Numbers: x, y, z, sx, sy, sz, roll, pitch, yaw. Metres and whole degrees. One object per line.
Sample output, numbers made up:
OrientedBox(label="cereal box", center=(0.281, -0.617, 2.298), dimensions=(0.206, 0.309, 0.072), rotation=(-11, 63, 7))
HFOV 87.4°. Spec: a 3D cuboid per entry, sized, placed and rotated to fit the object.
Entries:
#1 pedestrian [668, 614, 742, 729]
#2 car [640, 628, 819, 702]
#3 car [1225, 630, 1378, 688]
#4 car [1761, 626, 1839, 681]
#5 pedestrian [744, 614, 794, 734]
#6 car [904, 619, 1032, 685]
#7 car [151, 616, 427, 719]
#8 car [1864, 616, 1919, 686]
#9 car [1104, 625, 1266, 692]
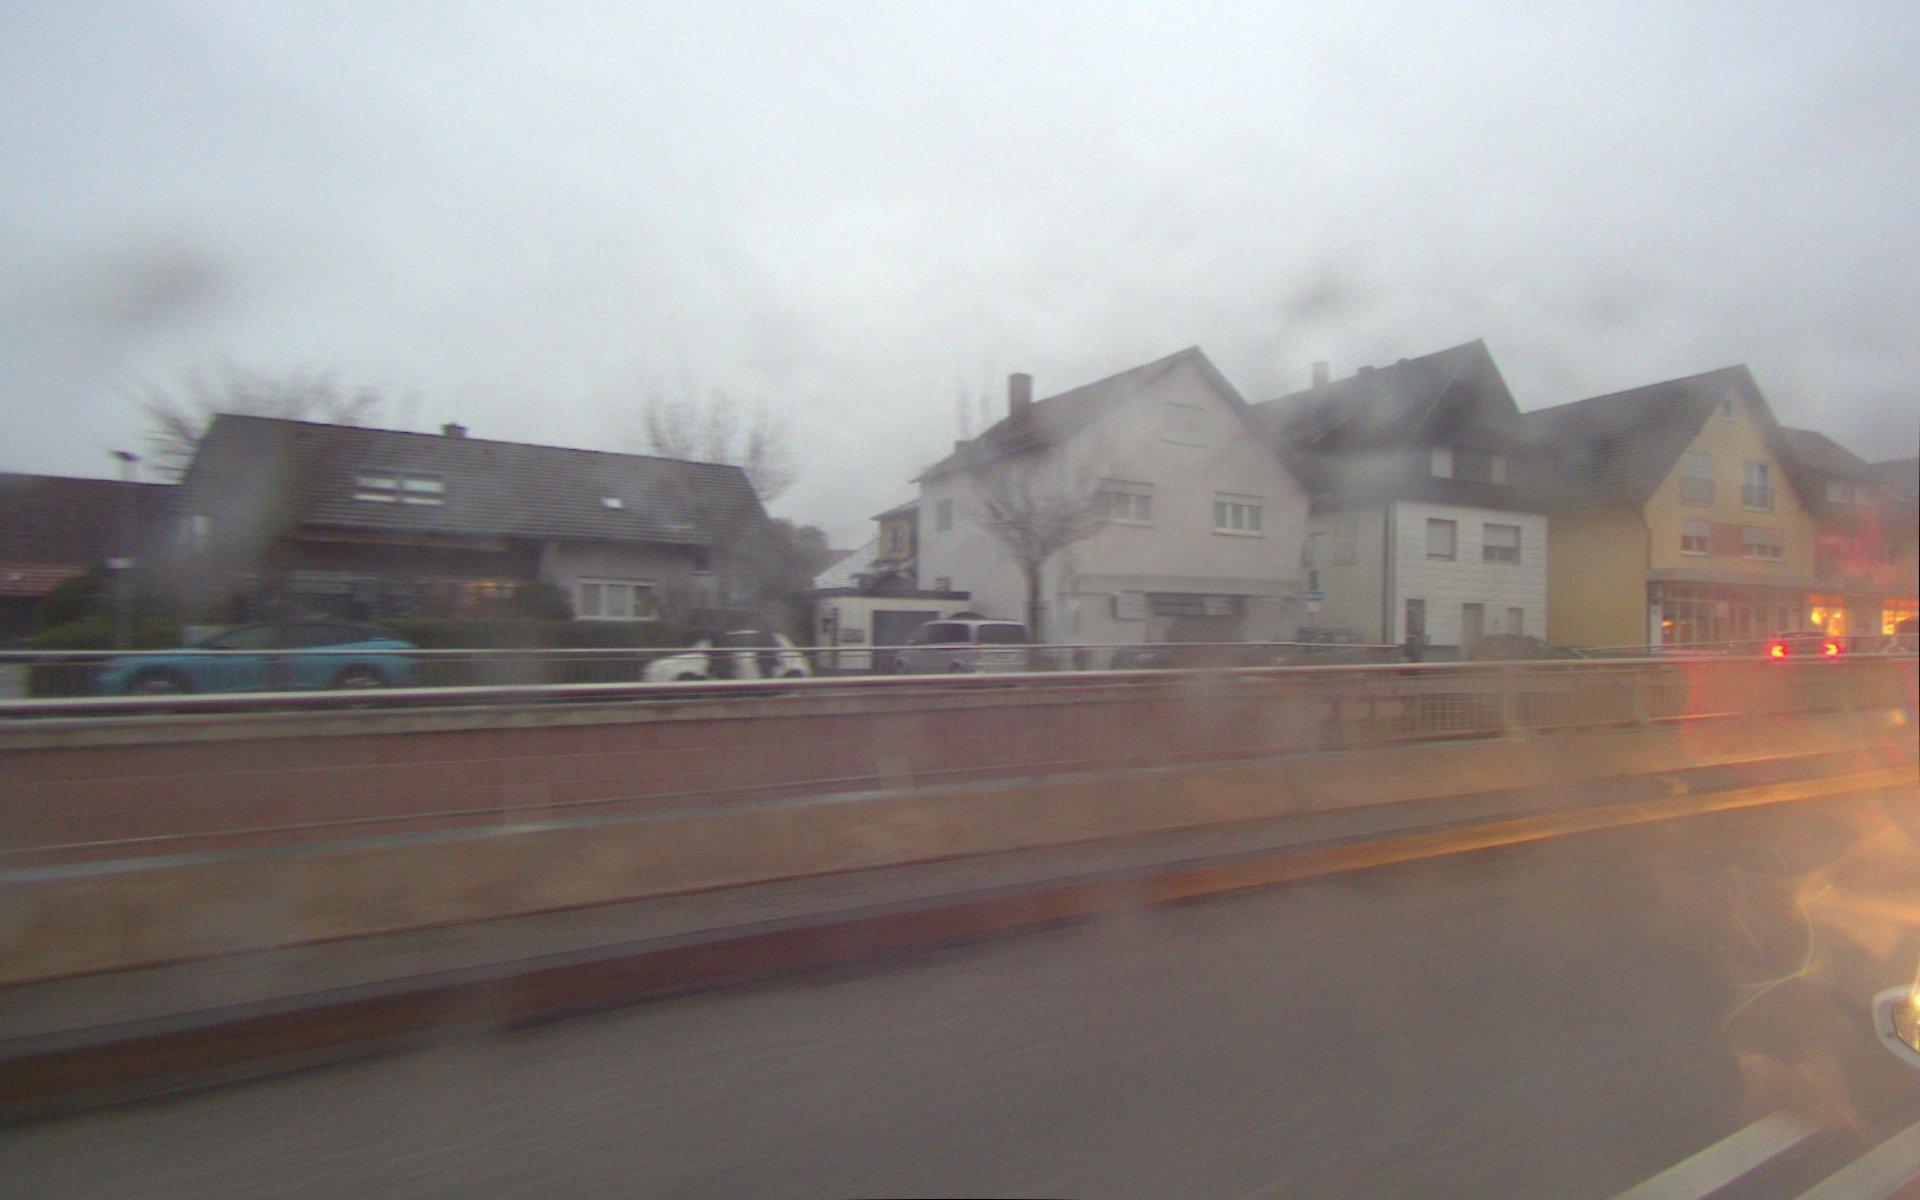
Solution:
OrientedBox(label="pedestrian", center=(-4.176, 1.139, 16.418), dimensions=(0.961, 1.808, 0.924), rotation=(1, 0, -28))
OrientedBox(label="car", center=(-4.879, 1.347, 21.344), dimensions=(3.419, 1.446, 1.475), rotation=(2, -2, -30))
OrientedBox(label="car", center=(10.076, 1.696, 29.620), dimensions=(4.163, 1.583, 1.904), rotation=(1, -2, -27))
OrientedBox(label="car", center=(26.786, 1.651, 32.126), dimensions=(1.800, 1.634, 4.038), rotation=(-1, -2, 39))
OrientedBox(label="pedestrian", center=(-2.825, 1.068, 14.815), dimensions=(0.534, 1.720, 0.661), rotation=(1, 0, -28))
OrientedBox(label="car", center=(0.138, 1.461, 28.563), dimensions=(1.843, 1.716, 3.967), rotation=(1, -3, -31))
OrientedBox(label="car", center=(-11.484, 1.160, 17.414), dimensions=(3.782, 1.601, 1.555), rotation=(2, -4, -35))
OrientedBox(label="car", center=(28.098, 1.450, 29.532), dimensions=(2.013, 1.951, 4.038), rotation=(-1, -2, 39))
OrientedBox(label="car", center=(6.183, 1.553, 27.497), dimensions=(4.168, 1.705, 1.902), rotation=(1, -2, -30))
